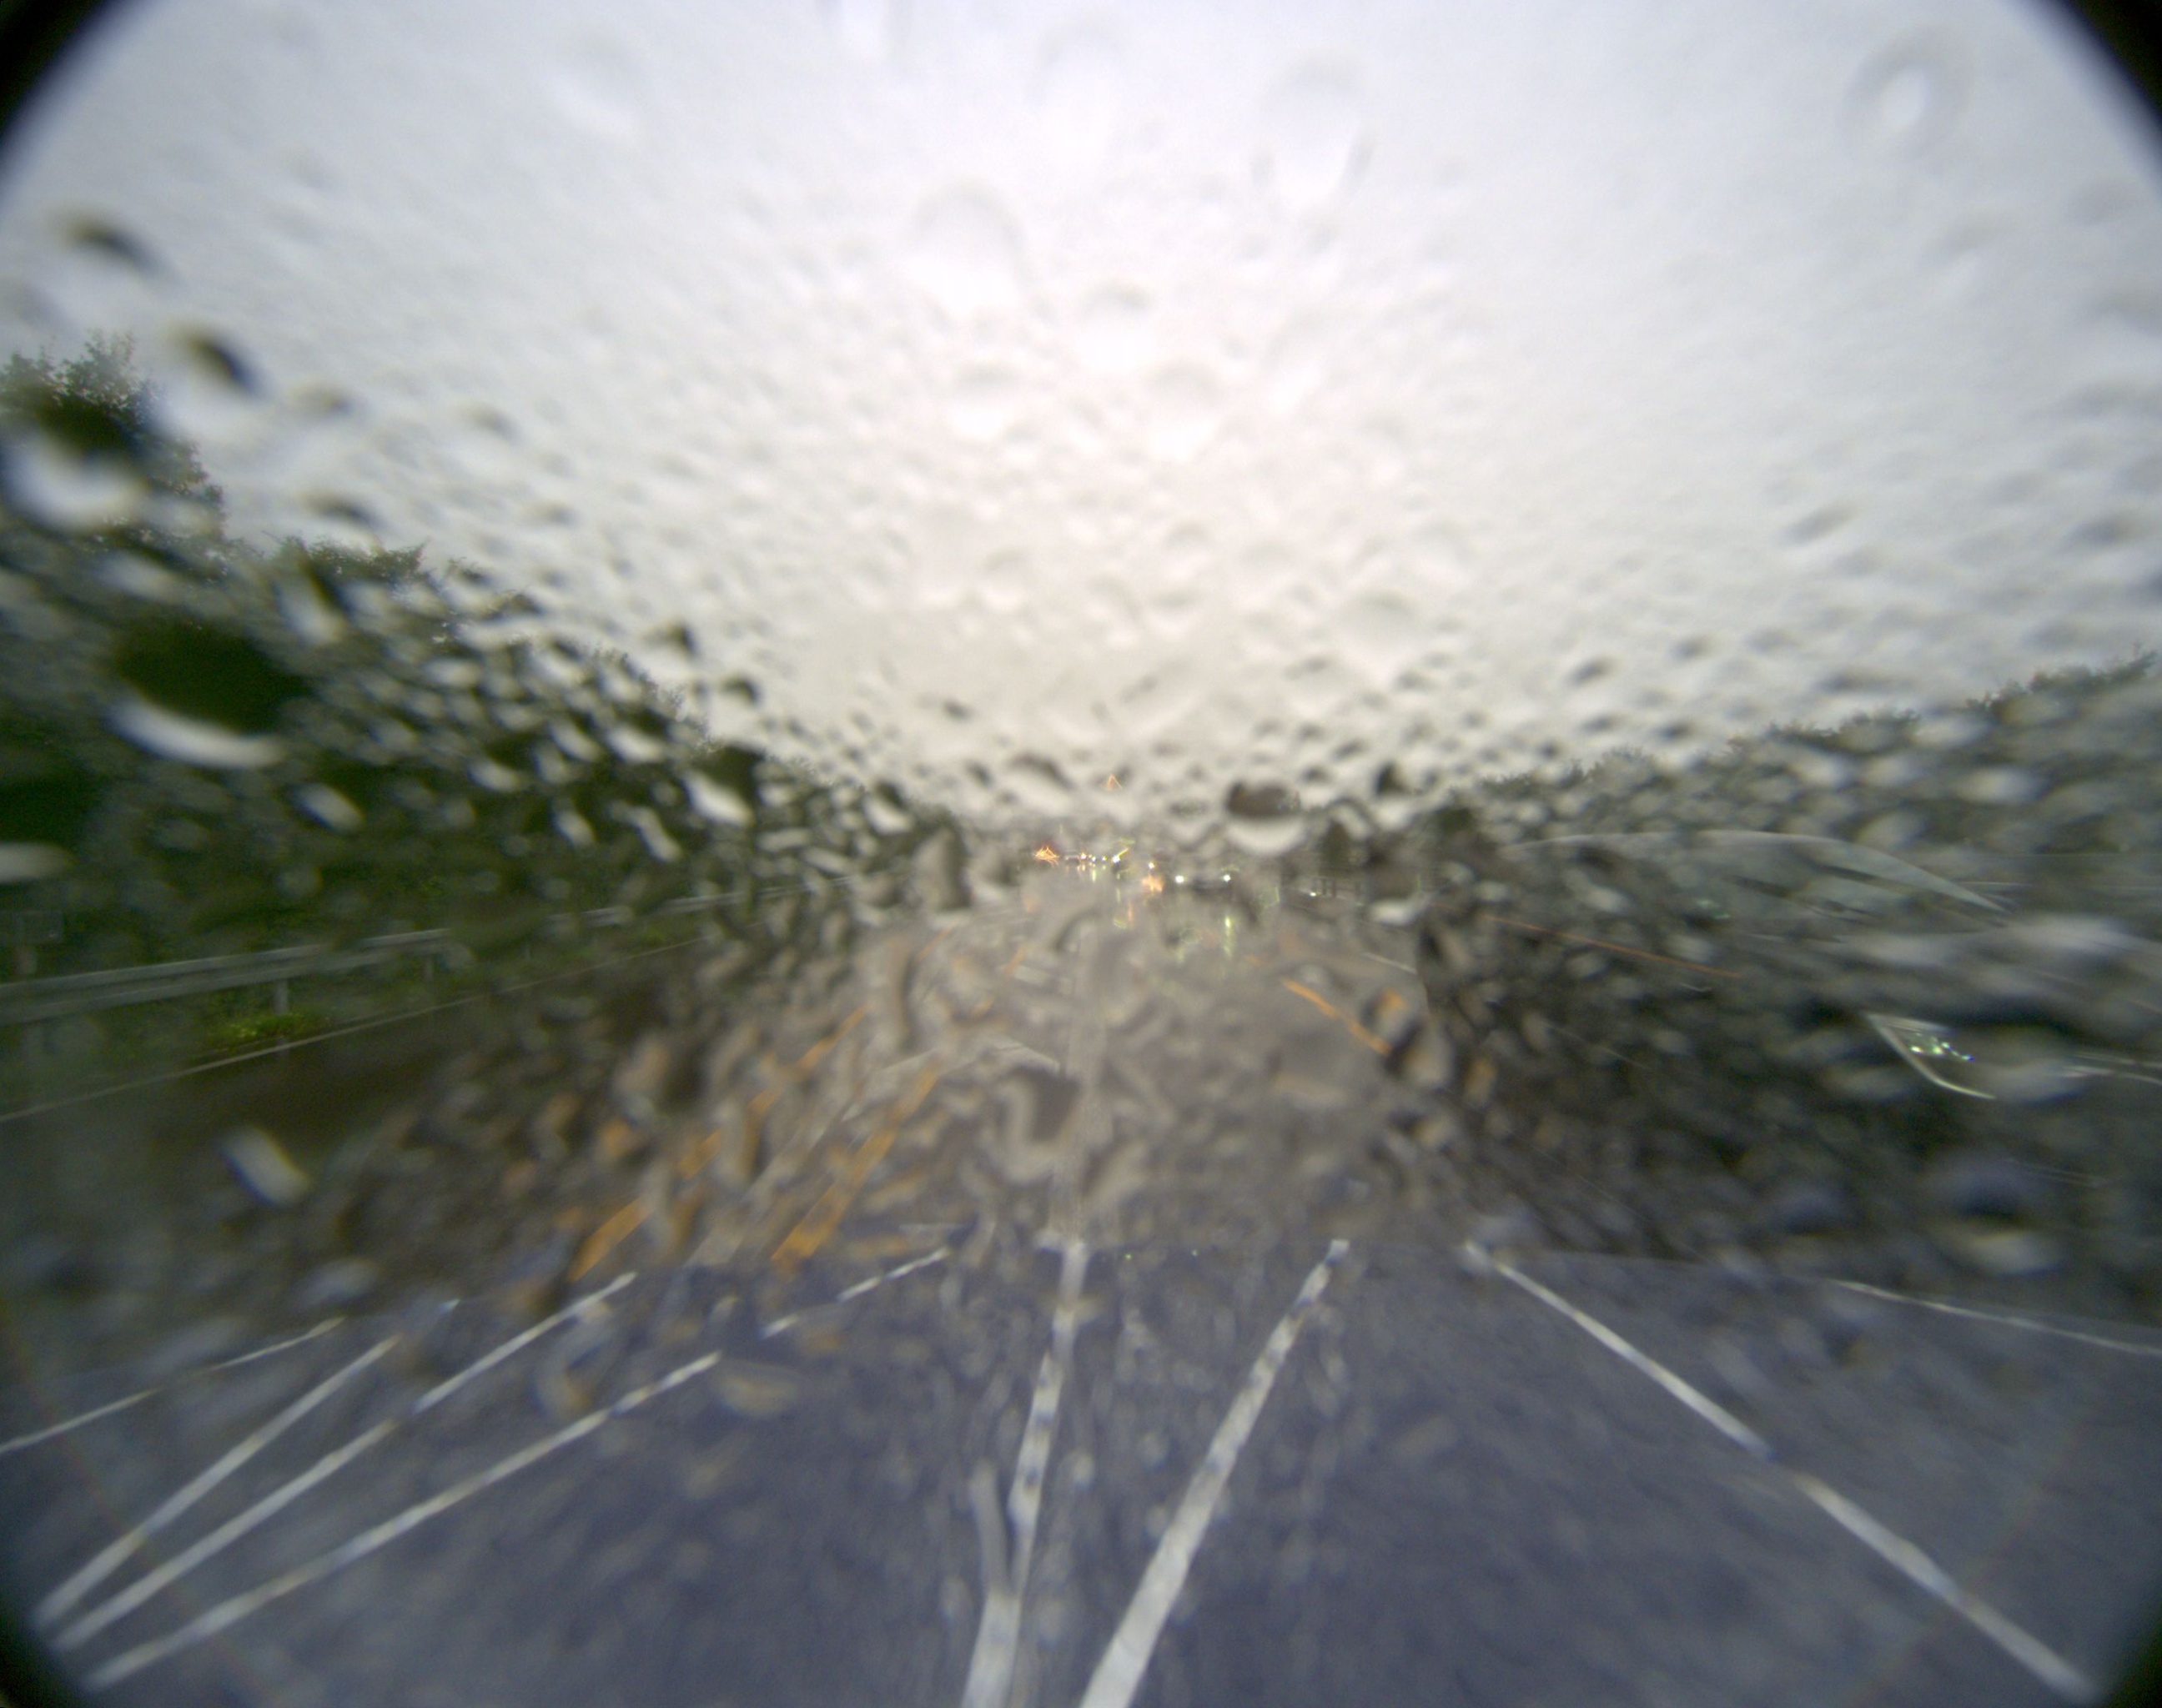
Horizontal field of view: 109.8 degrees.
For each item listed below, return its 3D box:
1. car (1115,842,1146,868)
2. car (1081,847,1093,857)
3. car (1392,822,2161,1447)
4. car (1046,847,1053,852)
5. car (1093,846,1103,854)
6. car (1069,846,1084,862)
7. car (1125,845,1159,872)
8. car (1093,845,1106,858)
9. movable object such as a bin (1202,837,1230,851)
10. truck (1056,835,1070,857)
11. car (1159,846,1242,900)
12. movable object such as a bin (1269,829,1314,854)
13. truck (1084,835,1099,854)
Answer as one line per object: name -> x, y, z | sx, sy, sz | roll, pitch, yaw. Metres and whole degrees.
car -> 4.185, 0.033, 65.400 | 2.211, 2.002, 5.563 | -3, 1, 0
car -> 1.027, -0.322, 133.271 | 1.845, 1.586, 3.999 | -3, 1, -1
car -> 3.575, 0.686, 4.145 | 1.998, 1.576, 4.413 | -3, 1, 2
car -> -9.297, -1.368, 224.795 | 1.752, 1.579, 3.999 | -3, 1, -1
car -> 3.624, -0.877, 166.985 | 1.956, 1.707, 5.102 | -3, 1, -1
car -> -0.558, -0.024, 100.977 | 1.881, 2.002, 3.999 | -3, 1, -1
car -> 3.856, 0.298, 48.698 | 1.978, 1.586, 4.310 | -2, -1, 3
car -> 2.525, -0.383, 104.432 | 1.695, 1.740, 3.999 | -3, 1, -1
movable object such as a bin -> 24.107, -1.752, 135.962 | 3.448, 2.281, 5.097 | -3, 1, -7
truck -> -3.501, -1.577, 151.245 | 2.484, 4.061, 8.702 | -3, 1, -1
car -> 3.704, 0.541, 24.451 | 1.998, 1.489, 4.630 | -2, 1, 1
movable object such as a bin -> 26.092, -1.532, 94.601 | 3.774, 2.782, 6.329 | -3, 1, 0
truck -> 2.794, -2.505, 205.199 | 3.283, 4.809, 15.982 | -3, 1, -1
